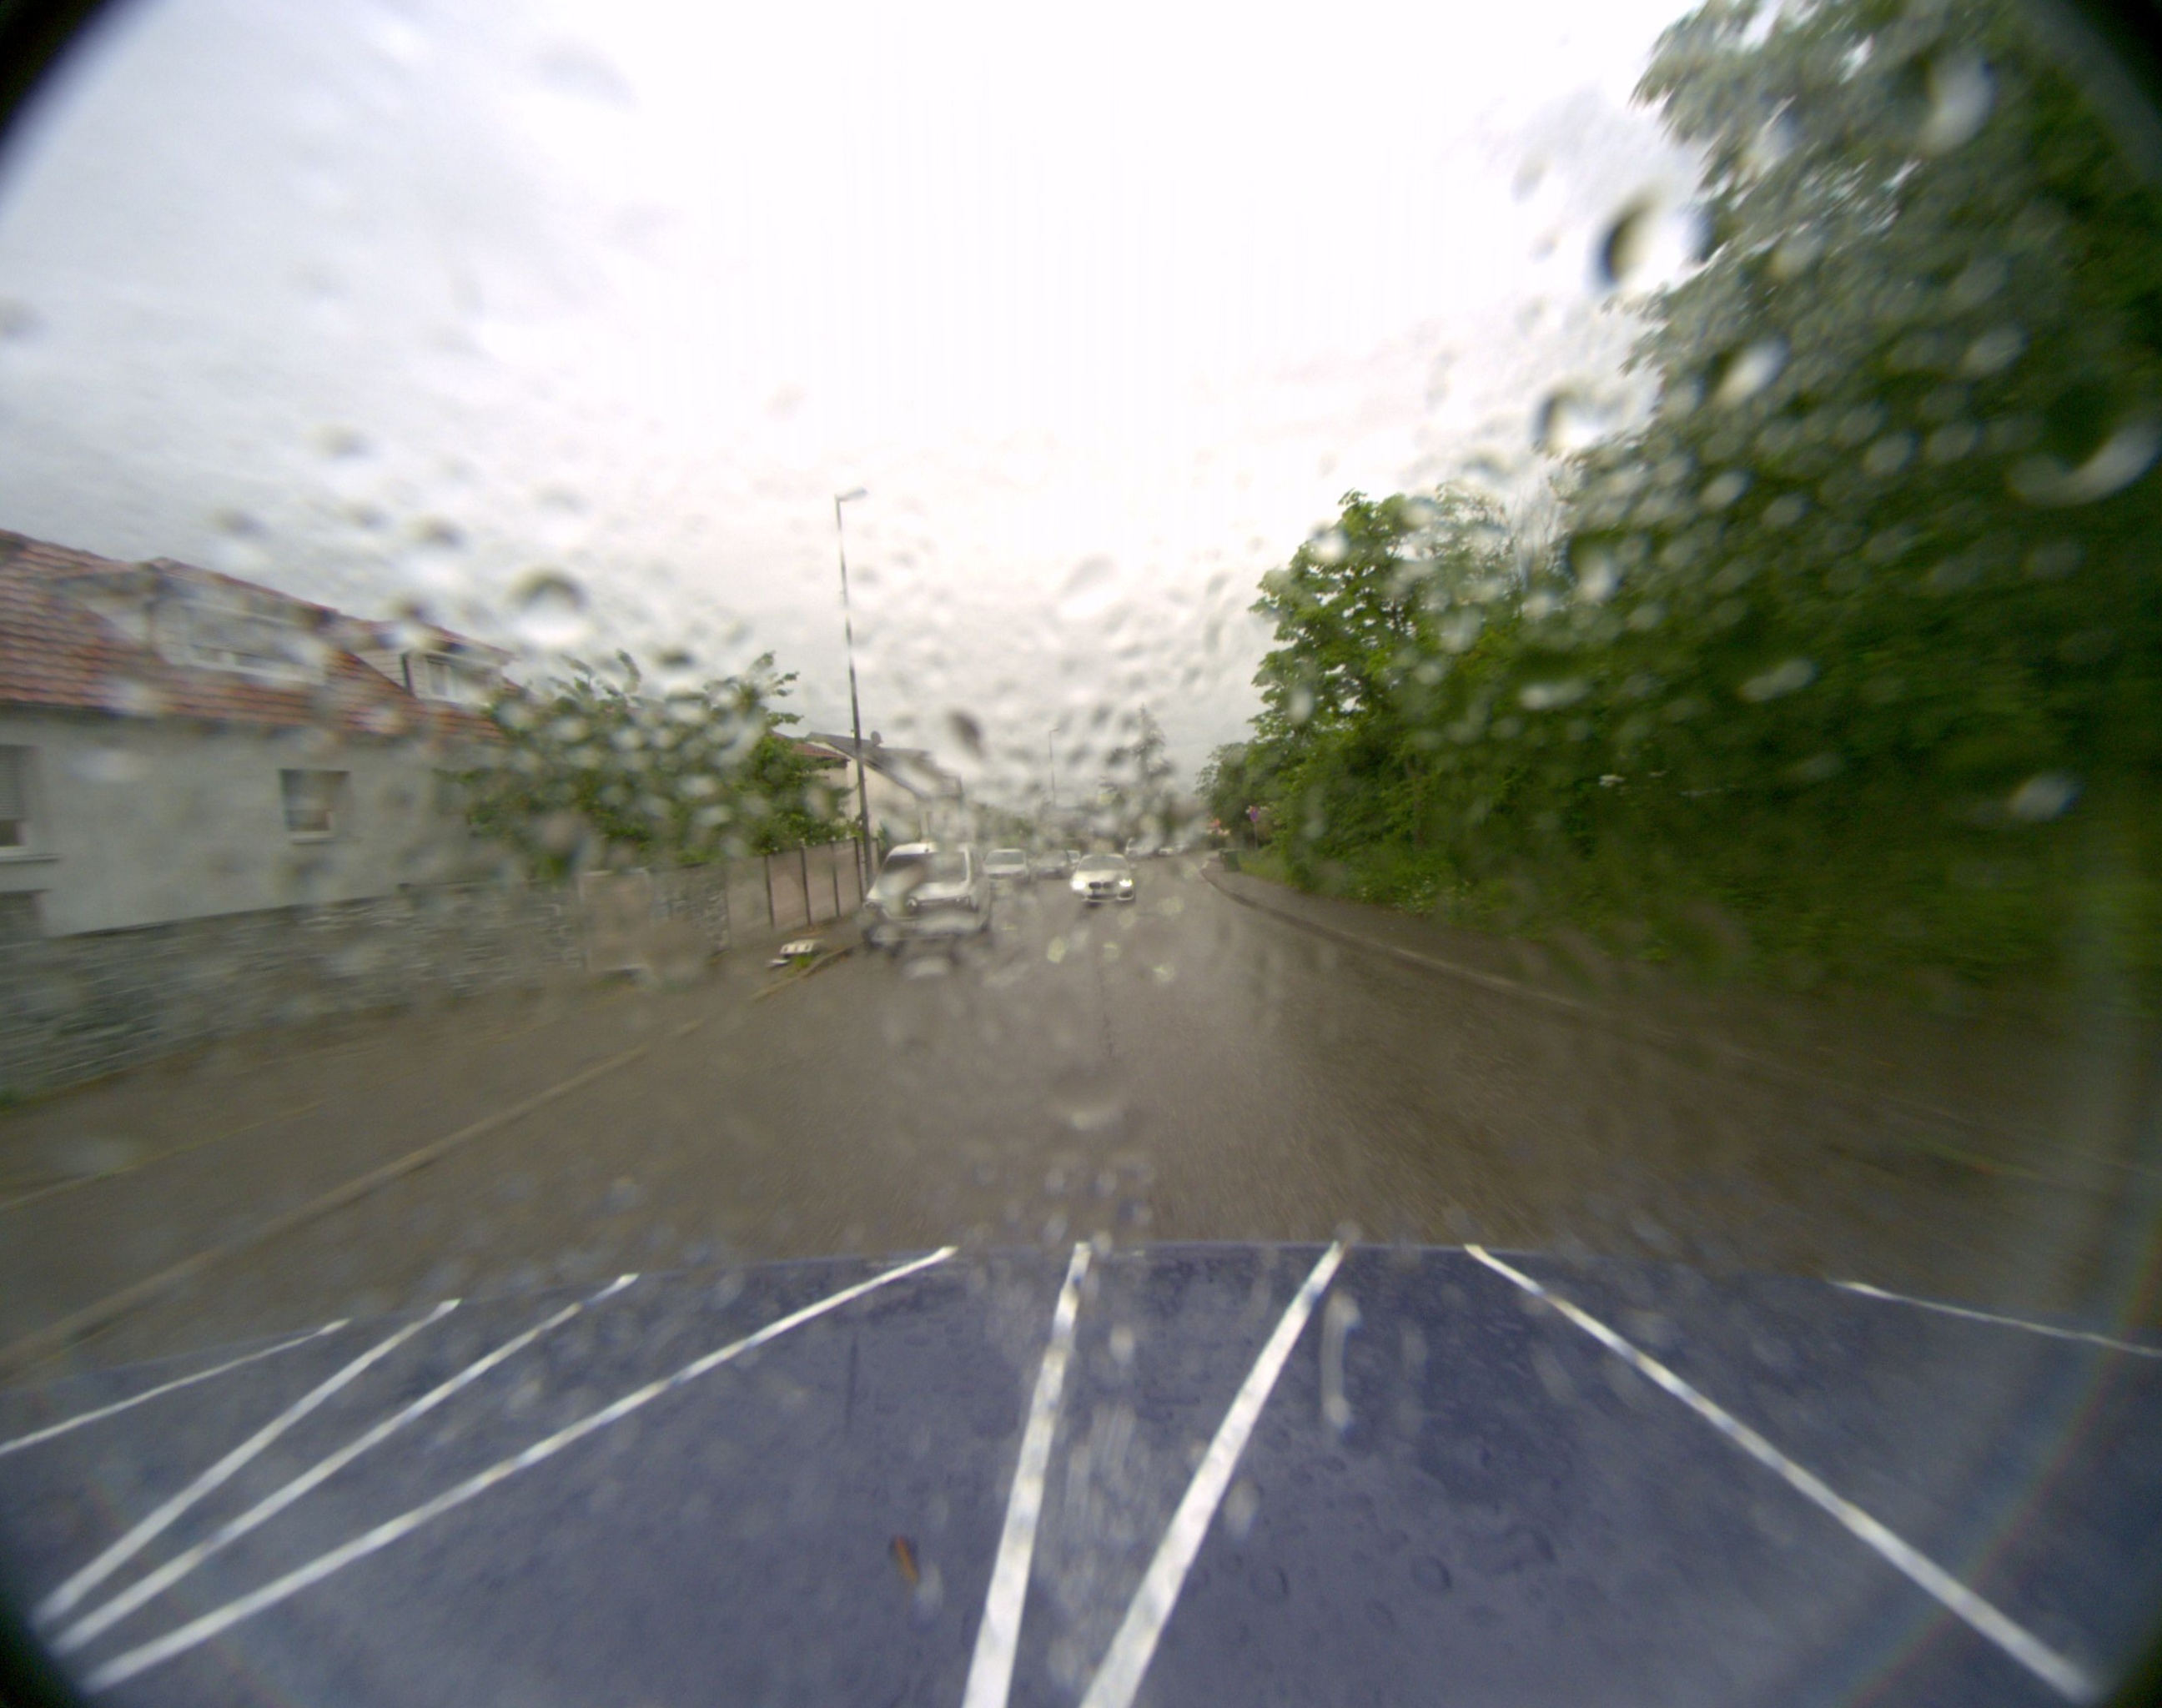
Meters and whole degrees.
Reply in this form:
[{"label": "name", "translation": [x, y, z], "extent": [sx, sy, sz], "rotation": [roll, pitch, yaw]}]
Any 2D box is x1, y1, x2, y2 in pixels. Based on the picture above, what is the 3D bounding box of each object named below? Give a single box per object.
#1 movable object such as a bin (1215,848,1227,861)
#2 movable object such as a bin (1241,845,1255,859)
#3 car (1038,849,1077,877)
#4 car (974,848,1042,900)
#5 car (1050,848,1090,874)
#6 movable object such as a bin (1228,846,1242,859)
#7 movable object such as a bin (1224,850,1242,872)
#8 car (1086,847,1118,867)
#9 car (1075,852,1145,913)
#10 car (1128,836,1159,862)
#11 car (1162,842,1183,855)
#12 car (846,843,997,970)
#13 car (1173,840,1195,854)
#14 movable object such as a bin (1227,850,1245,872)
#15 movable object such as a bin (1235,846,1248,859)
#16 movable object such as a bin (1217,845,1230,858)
[{"label": "movable object such as a bin", "translation": [12.060, 0.066, 65.449], "extent": [0.780, 1.022, 0.718], "rotation": [-5, 2, -13]}, {"label": "movable object such as a bin", "translation": [13.690, -0.174, 62.222], "extent": [0.781, 1.022, 0.718], "rotation": [-6, 2, -36]}, {"label": "car", "translation": [-1.241, 0.468, 41.724], "extent": [1.662, 1.459, 3.764], "rotation": [0, 1, 5]}, {"label": "car", "translation": [-2.475, 0.639, 26.827], "extent": [1.808, 1.617, 4.287], "rotation": [0, 1, 2]}, {"label": "car", "translation": [-0.624, 0.388, 46.345], "extent": [1.772, 1.459, 4.236], "rotation": [0, 1, 8]}, {"label": "movable object such as a bin", "translation": [12.834, -0.124, 63.425], "extent": [0.781, 1.022, 0.718], "rotation": [-6, 2, -36]}, {"label": "movable object such as a bin", "translation": [7.758, 0.335, 38.750], "extent": [0.770, 1.090, 0.738], "rotation": [-2, 1, 2]}, {"label": "car", "translation": [1.737, 0.184, 61.057], "extent": [1.860, 1.518, 5.066], "rotation": [0, 1, 10]}, {"label": "car", "translation": [0.815, 0.746, 21.970], "extent": [1.798, 1.455, 3.999], "rotation": [-2, 1, 2]}, {"label": "car", "translation": [6.674, -0.565, 80.022], "extent": [2.075, 2.535, 6.187], "rotation": [-1, 1, 15]}, {"label": "car", "translation": [11.545, -0.690, 95.643], "extent": [1.751, 1.415, 4.005], "rotation": [-1, 1, 19]}, {"label": "car", "translation": [-2.602, 0.735, 13.531], "extent": [1.783, 1.793, 4.705], "rotation": [-2, 1, -2]}, {"label": "car", "translation": [13.711, -0.960, 101.100], "extent": [1.867, 1.808, 4.868], "rotation": [-1, 2, 21]}, {"label": "movable object such as a bin", "translation": [7.642, 0.351, 37.434], "extent": [0.770, 1.062, 0.691], "rotation": [-2, 1, 2]}, {"label": "movable object such as a bin", "translation": [13.268, -0.144, 62.821], "extent": [0.781, 1.022, 0.718], "rotation": [-6, 2, -36]}, {"label": "movable object such as a bin", "translation": [12.156, -0.191, 64.706], "extent": [0.780, 1.022, 0.718], "rotation": [-5, 2, -13]}]
